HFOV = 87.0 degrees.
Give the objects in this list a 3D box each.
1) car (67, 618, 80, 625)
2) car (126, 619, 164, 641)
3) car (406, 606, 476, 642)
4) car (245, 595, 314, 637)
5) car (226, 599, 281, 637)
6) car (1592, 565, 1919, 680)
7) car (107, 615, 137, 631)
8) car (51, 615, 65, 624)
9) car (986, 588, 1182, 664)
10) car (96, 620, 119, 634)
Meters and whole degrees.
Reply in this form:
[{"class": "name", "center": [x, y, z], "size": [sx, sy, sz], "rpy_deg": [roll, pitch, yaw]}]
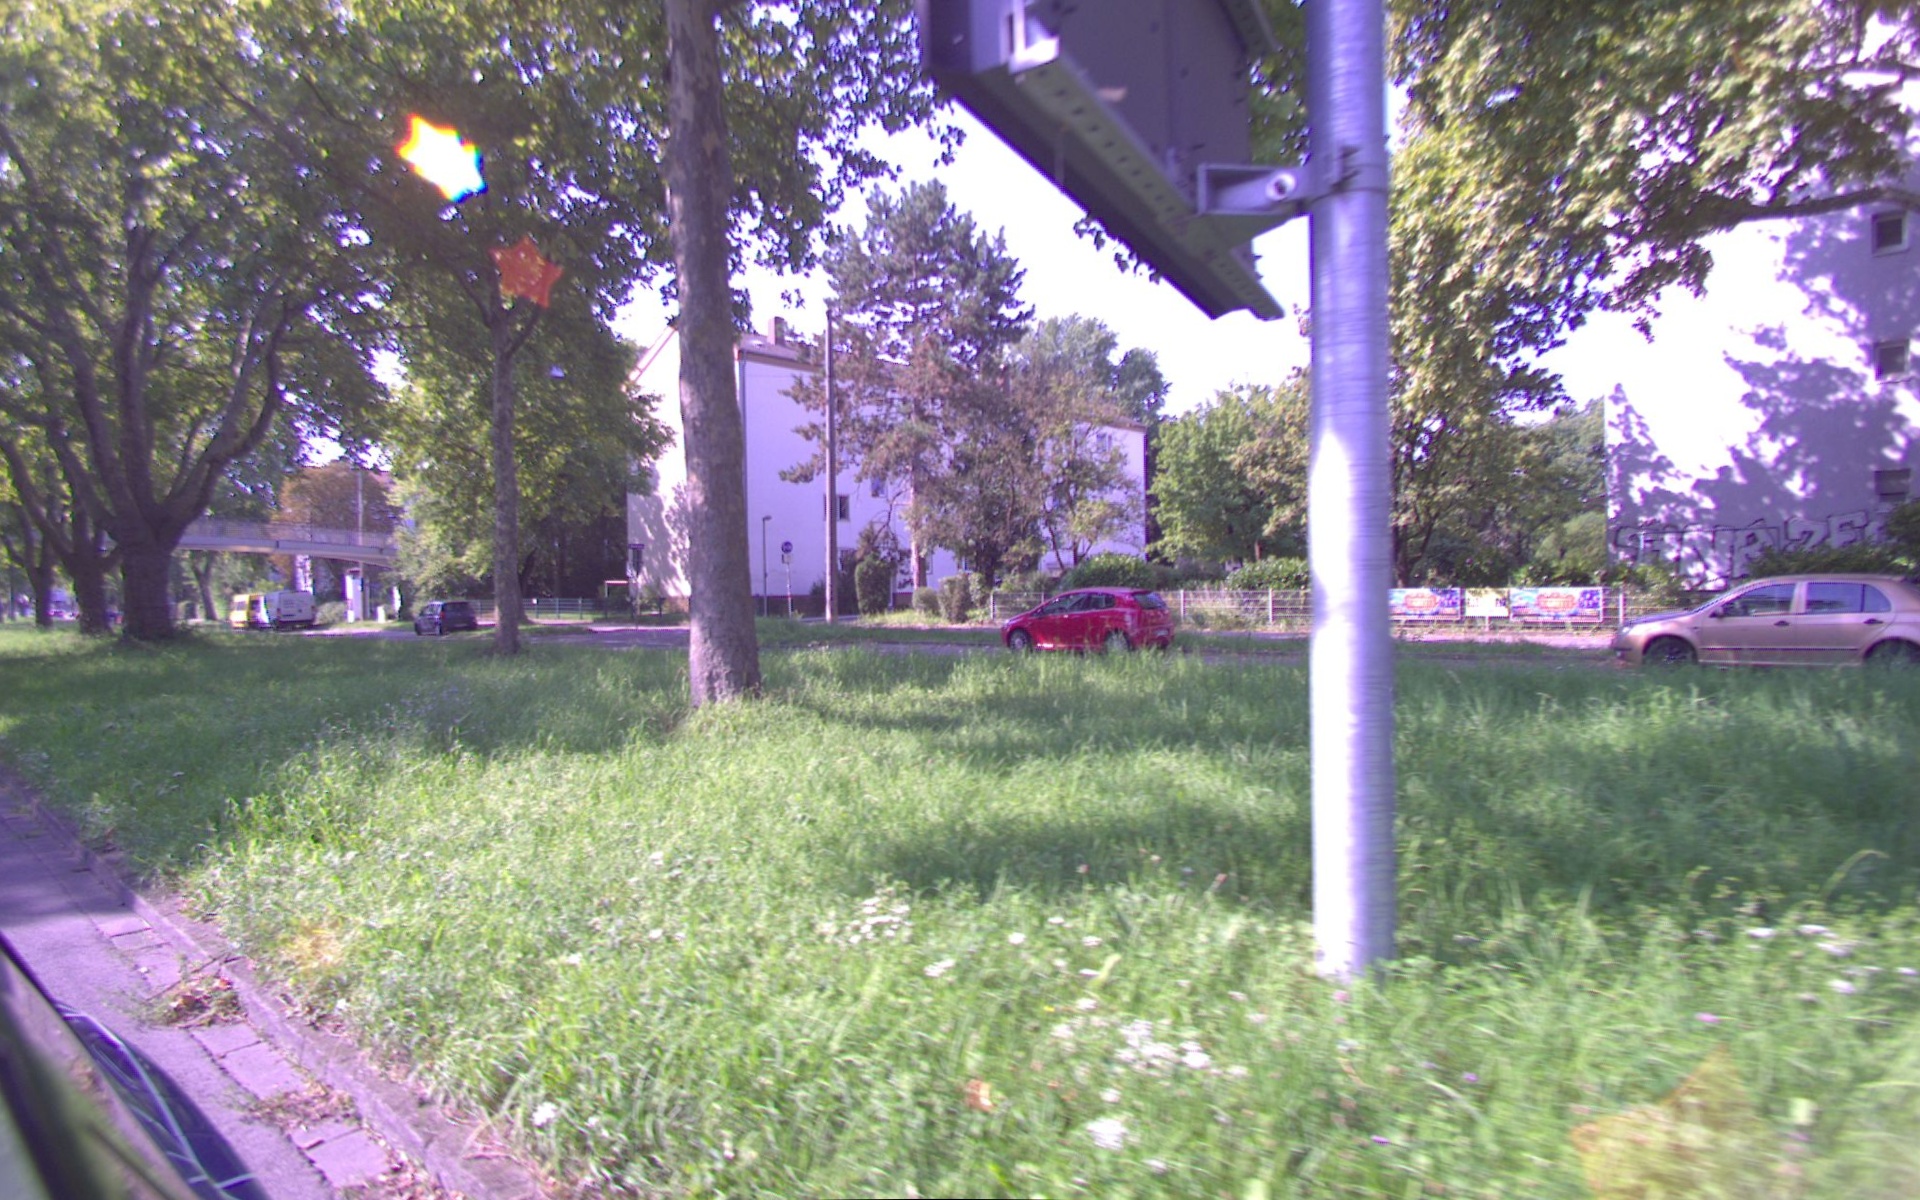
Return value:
[{"class": "car", "center": [-169.272, 4.090, 193.294], "size": [1.626, 1.374, 3.901], "rpy_deg": [-2, 0, -45]}, {"class": "car", "center": [-67.644, 2.489, 84.005], "size": [4.719, 1.733, 1.782], "rpy_deg": [-2, -1, 43]}, {"class": "car", "center": [-23.599, 1.047, 45.953], "size": [3.862, 1.544, 1.506], "rpy_deg": [-1, 0, 42]}, {"class": "car", "center": [-43.217, 1.011, 64.210], "size": [6.266, 2.448, 2.184], "rpy_deg": [-1, 3, 44]}, {"class": "car", "center": [-48.780, 1.231, 69.824], "size": [2.182, 2.498, 6.065], "rpy_deg": [-2, 1, -44]}, {"class": "car", "center": [11.543, 0.294, 14.380], "size": [4.064, 1.441, 1.783], "rpy_deg": [-2, 1, 43]}, {"class": "car", "center": [-82.267, 2.256, 99.360], "size": [4.068, 1.544, 1.673], "rpy_deg": [-2, 0, 41]}, {"class": "car", "center": [-177.529, 3.804, 199.164], "size": [1.754, 1.628, 4.860], "rpy_deg": [-2, 1, -44]}, {"class": "car", "center": [2.605, 0.532, 21.866], "size": [4.064, 1.462, 1.522], "rpy_deg": [-1, 1, 43]}, {"class": "car", "center": [-106.027, 3.323, 125.843], "size": [1.767, 1.544, 4.458], "rpy_deg": [-2, 1, -45]}]
